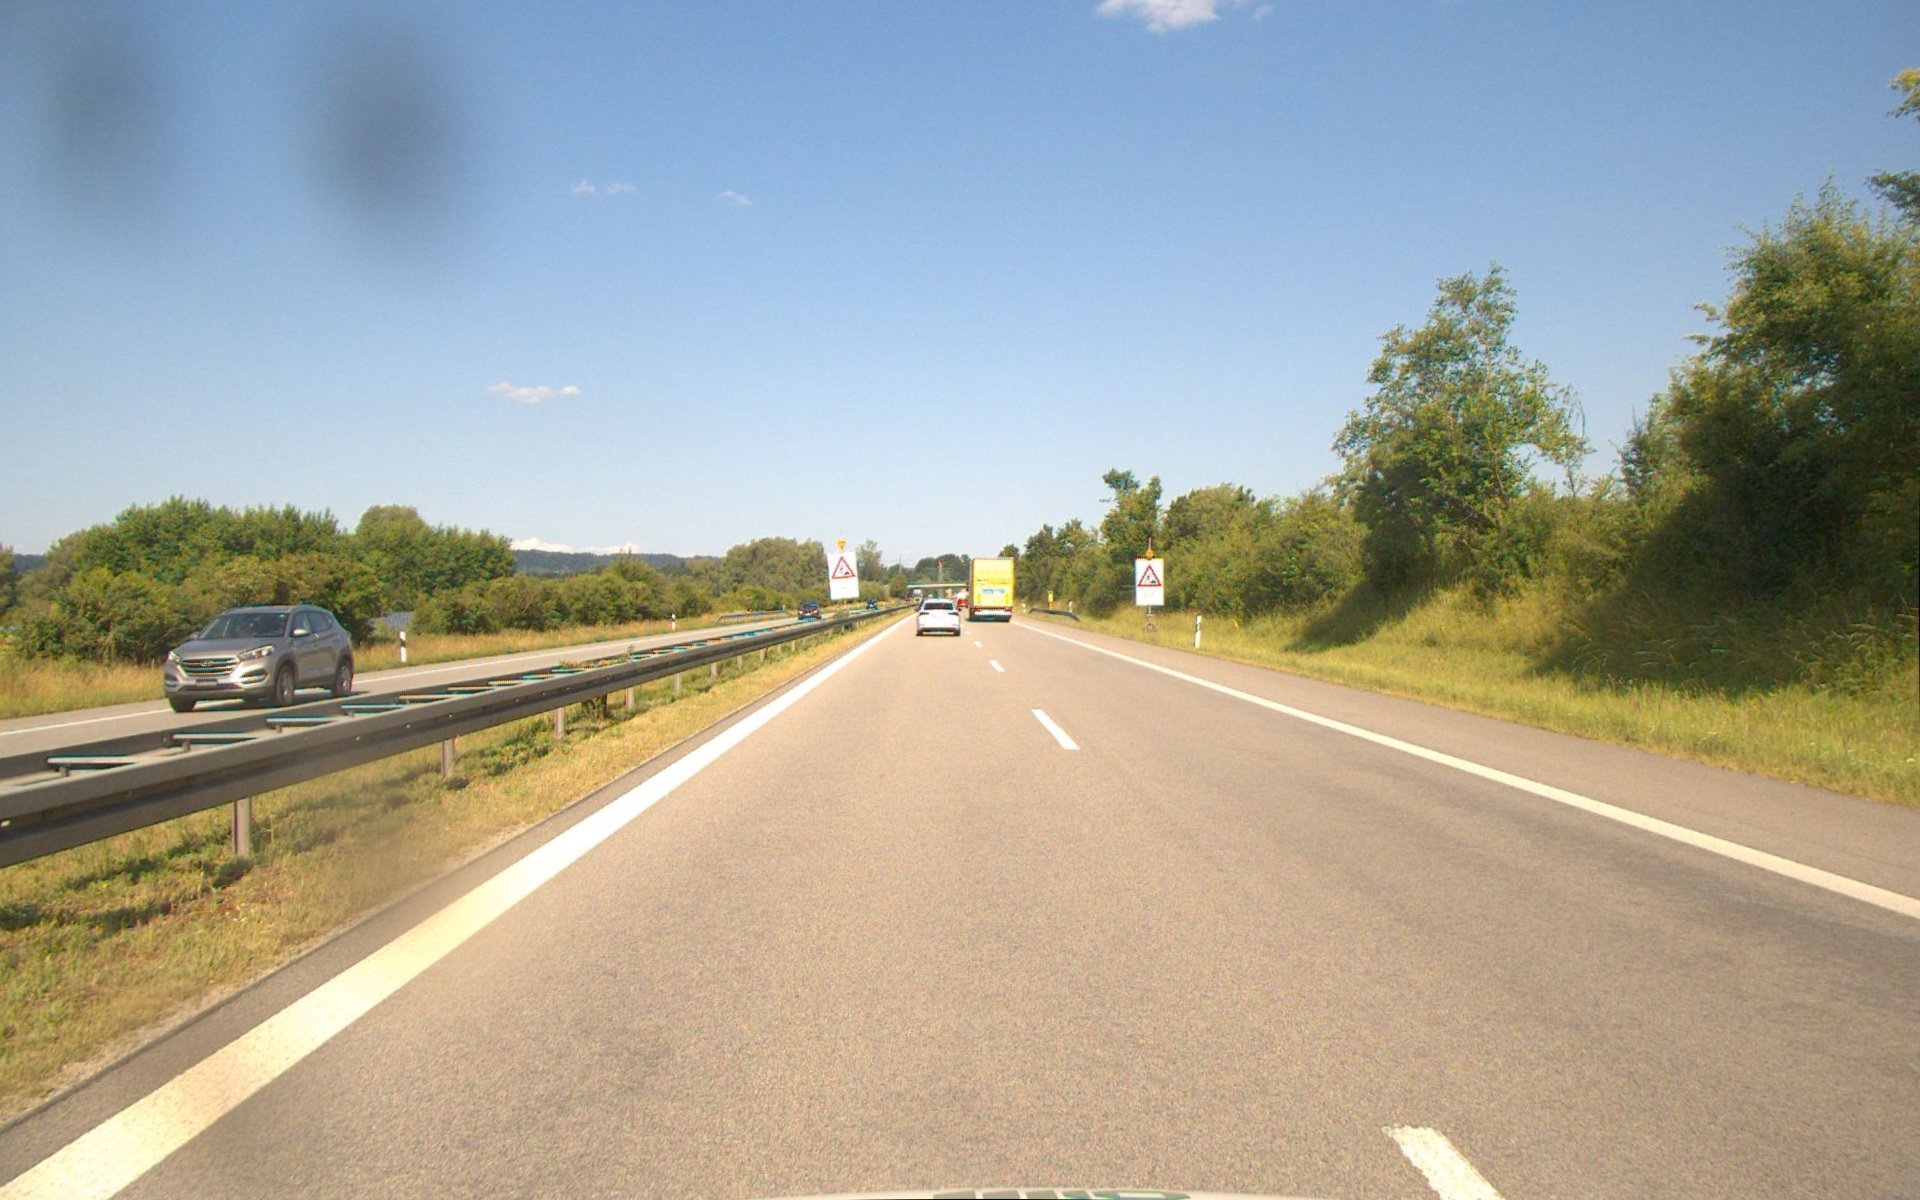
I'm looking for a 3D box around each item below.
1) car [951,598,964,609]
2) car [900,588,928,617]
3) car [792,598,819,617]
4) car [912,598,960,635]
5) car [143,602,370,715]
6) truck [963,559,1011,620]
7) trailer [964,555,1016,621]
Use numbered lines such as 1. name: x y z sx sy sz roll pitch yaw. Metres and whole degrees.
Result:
1. car: -0.420 0.576 256.620 1.863 1.712 4.730 2 0 -1
2. car: -3.290 0.201 119.506 1.953 2.049 3.999 1 0 -1
3. car: -12.968 0.590 138.981 1.795 1.422 4.921 -4 0 -2
4. car: -0.935 0.652 66.451 1.805 1.440 4.000 1 0 0
5. car: -11.839 0.922 28.204 1.863 1.712 4.730 -2 0 -1
6. truck: 1.857 -0.711 117.661 3.104 4.186 6.386 1 0 -1
7. trailer: 1.942 -0.714 111.464 3.119 4.130 13.185 1 0 0
